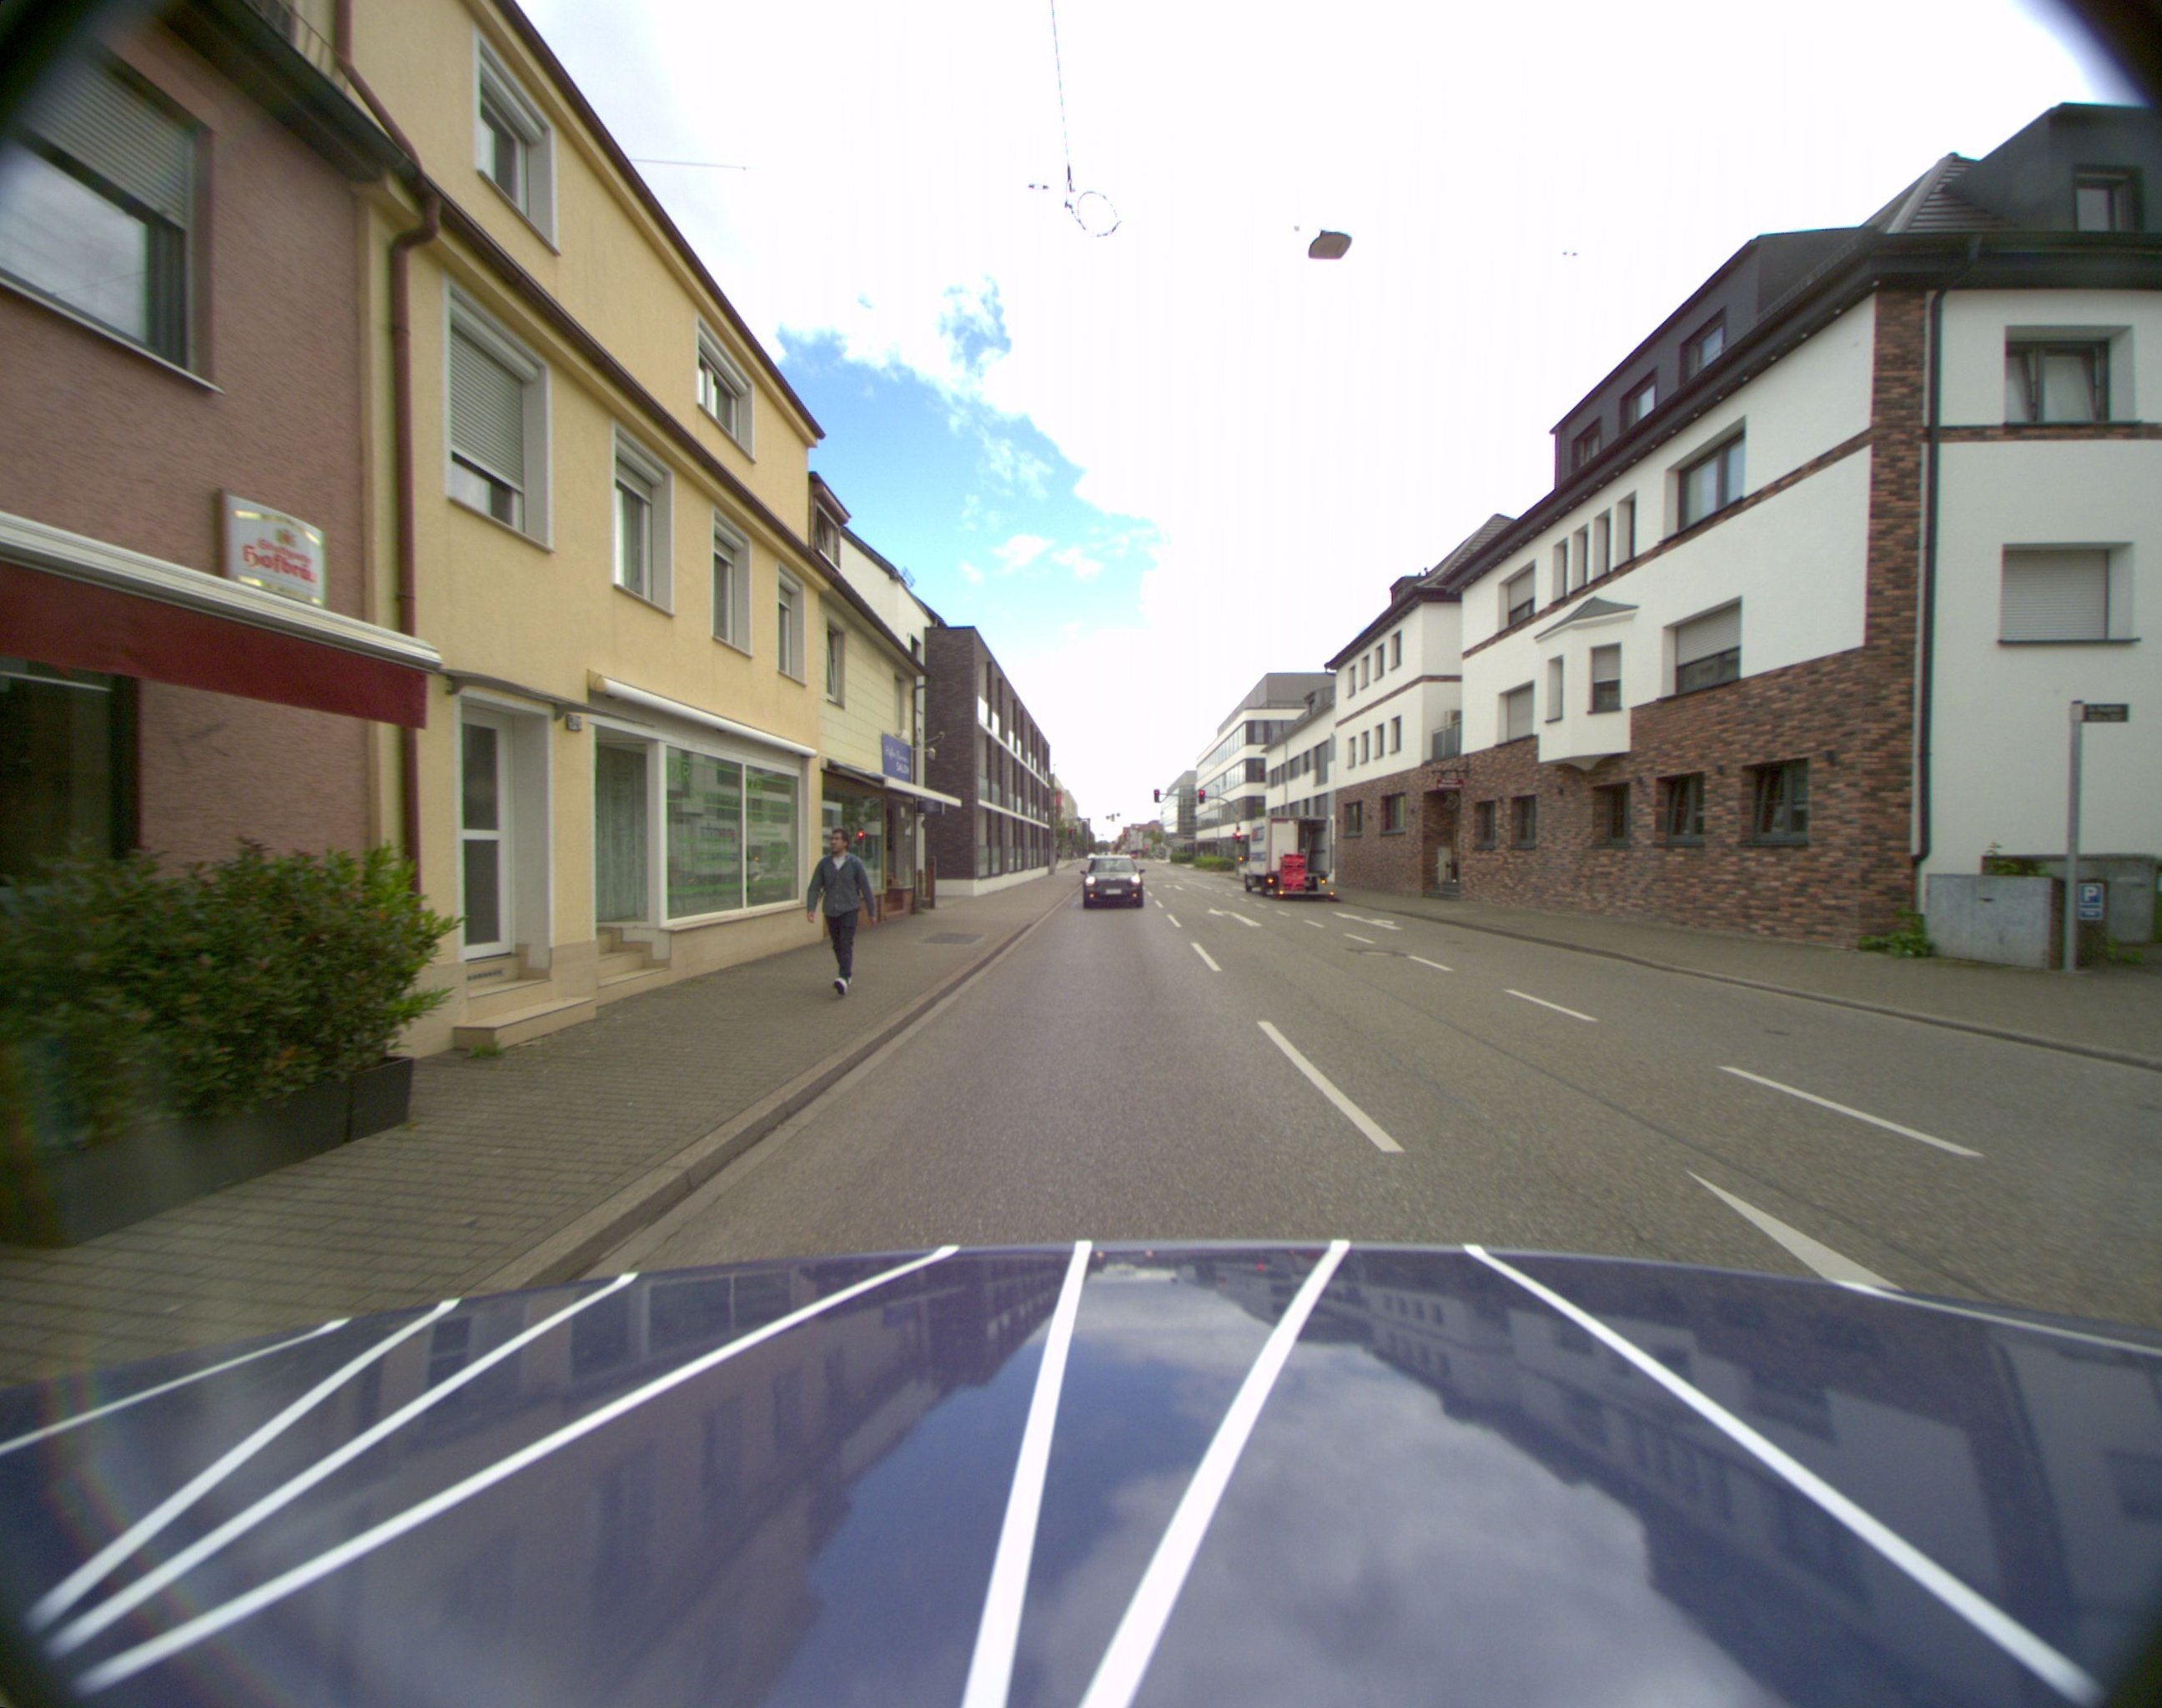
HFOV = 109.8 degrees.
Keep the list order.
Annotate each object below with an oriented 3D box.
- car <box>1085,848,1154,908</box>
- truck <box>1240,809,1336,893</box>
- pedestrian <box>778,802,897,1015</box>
[{"bbox_3d":[1.188,0.669,23.492,1.847,1.571,4.429,-3,1,3],"label":"car"},{"bbox_3d":[8.011,-0.134,30.097,2.468,2.954,5.965,-2,1,4],"label":"truck"},{"bbox_3d":[-2.521,0.528,7.977,0.826,2.063,1.011,2,1,3],"label":"pedestrian"}]
